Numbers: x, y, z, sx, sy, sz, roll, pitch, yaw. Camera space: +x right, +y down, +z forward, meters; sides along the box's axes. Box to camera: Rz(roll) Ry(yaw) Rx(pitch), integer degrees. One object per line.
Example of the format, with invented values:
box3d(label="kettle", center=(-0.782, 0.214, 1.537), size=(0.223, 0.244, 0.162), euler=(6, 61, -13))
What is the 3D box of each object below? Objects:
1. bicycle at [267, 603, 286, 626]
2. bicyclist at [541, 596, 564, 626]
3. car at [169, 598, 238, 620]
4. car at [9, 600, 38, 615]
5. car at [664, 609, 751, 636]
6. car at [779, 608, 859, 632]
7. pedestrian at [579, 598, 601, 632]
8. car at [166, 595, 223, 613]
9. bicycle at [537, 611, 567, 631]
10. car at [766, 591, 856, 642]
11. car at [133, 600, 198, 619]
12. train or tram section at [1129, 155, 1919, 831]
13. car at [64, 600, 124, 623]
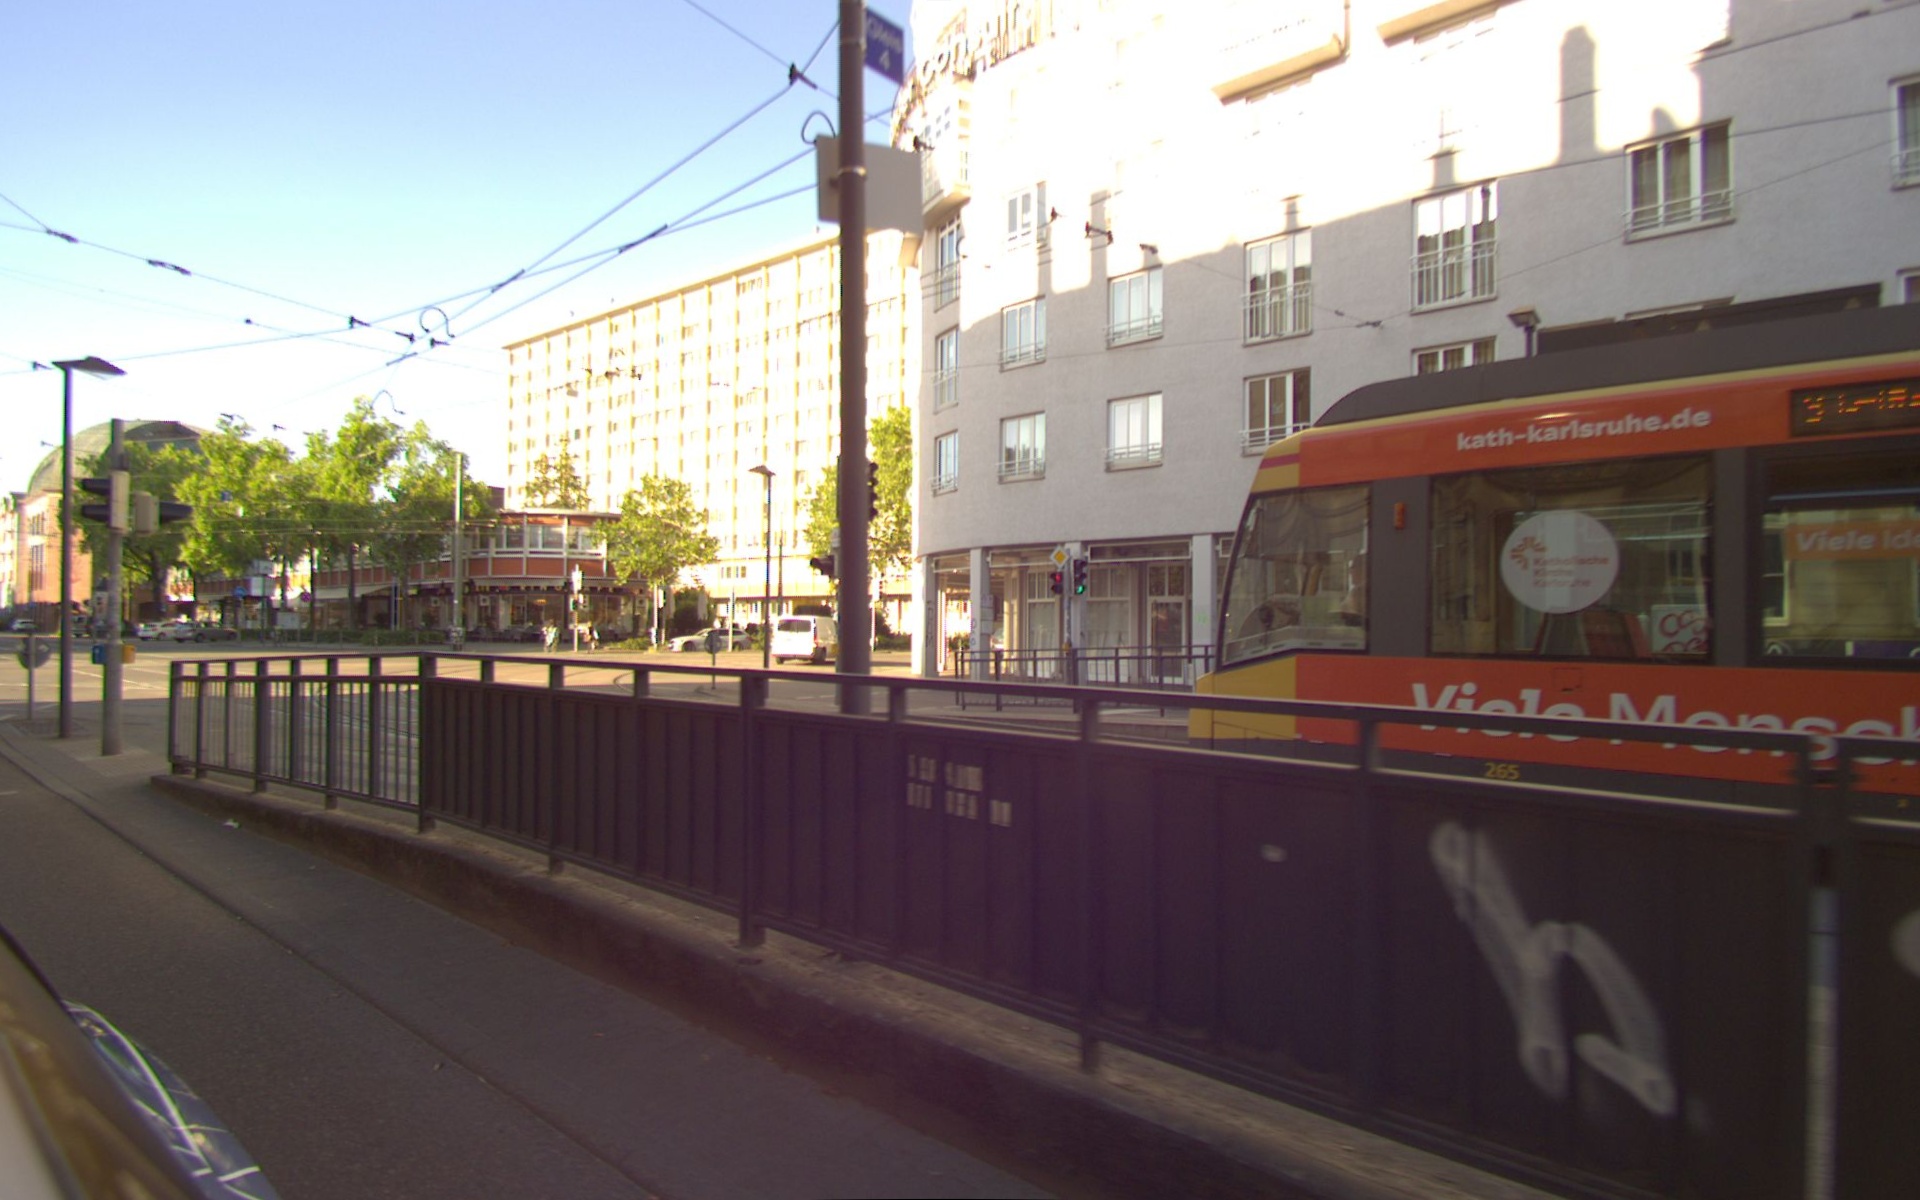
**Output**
box3d(label="bicycle", center=(-38.614, 0.825, 57.195), size=(0.574, 1.244, 1.858), euler=(-1, 0, -43))
box3d(label="bicyclist", center=(-20.275, 0.558, 50.307), size=(0.830, 1.478, 0.898), euler=(0, 0, -38))
box3d(label="car", center=(-55.922, 0.627, 74.917), size=(1.778, 1.566, 3.989), euler=(0, 0, 9))
box3d(label="car", center=(-108.523, 0.863, 117.291), size=(3.996, 1.615, 1.887), euler=(0, 0, 39))
box3d(label="car", center=(-14.355, 1.285, 57.589), size=(4.380, 1.432, 1.896), euler=(1, -1, -33))
box3d(label="car", center=(-8.522, 1.214, 61.264), size=(4.380, 1.432, 1.896), euler=(1, -1, -33))
box3d(label="pedestrian", center=(-18.803, 0.770, 51.405), size=(0.857, 1.695, 0.697), euler=(2, -4, -41))
box3d(label="car", center=(-88.778, 0.536, 117.419), size=(1.998, 2.029, 4.922), euler=(-1, -1, 39))
box3d(label="bicycle", center=(-20.302, 1.024, 50.329), size=(0.830, 0.934, 2.269), euler=(0, 0, -38))
box3d(label="car", center=(-5.807, 0.649, 40.259), size=(1.978, 1.851, 5.330), euler=(2, -1, 10))
box3d(label="car", center=(-64.146, 0.730, 81.789), size=(1.778, 1.486, 3.989), euler=(0, 0, 9))
box3d(label="train or tram section", center=(7.657, -0.555, 4.811), size=(14.160, 3.517, 2.855), euler=(-1, -2, 41))
box3d(label="car", center=(-79.453, 1.015, 92.906), size=(1.888, 1.979, 3.993), euler=(0, 0, 6))
